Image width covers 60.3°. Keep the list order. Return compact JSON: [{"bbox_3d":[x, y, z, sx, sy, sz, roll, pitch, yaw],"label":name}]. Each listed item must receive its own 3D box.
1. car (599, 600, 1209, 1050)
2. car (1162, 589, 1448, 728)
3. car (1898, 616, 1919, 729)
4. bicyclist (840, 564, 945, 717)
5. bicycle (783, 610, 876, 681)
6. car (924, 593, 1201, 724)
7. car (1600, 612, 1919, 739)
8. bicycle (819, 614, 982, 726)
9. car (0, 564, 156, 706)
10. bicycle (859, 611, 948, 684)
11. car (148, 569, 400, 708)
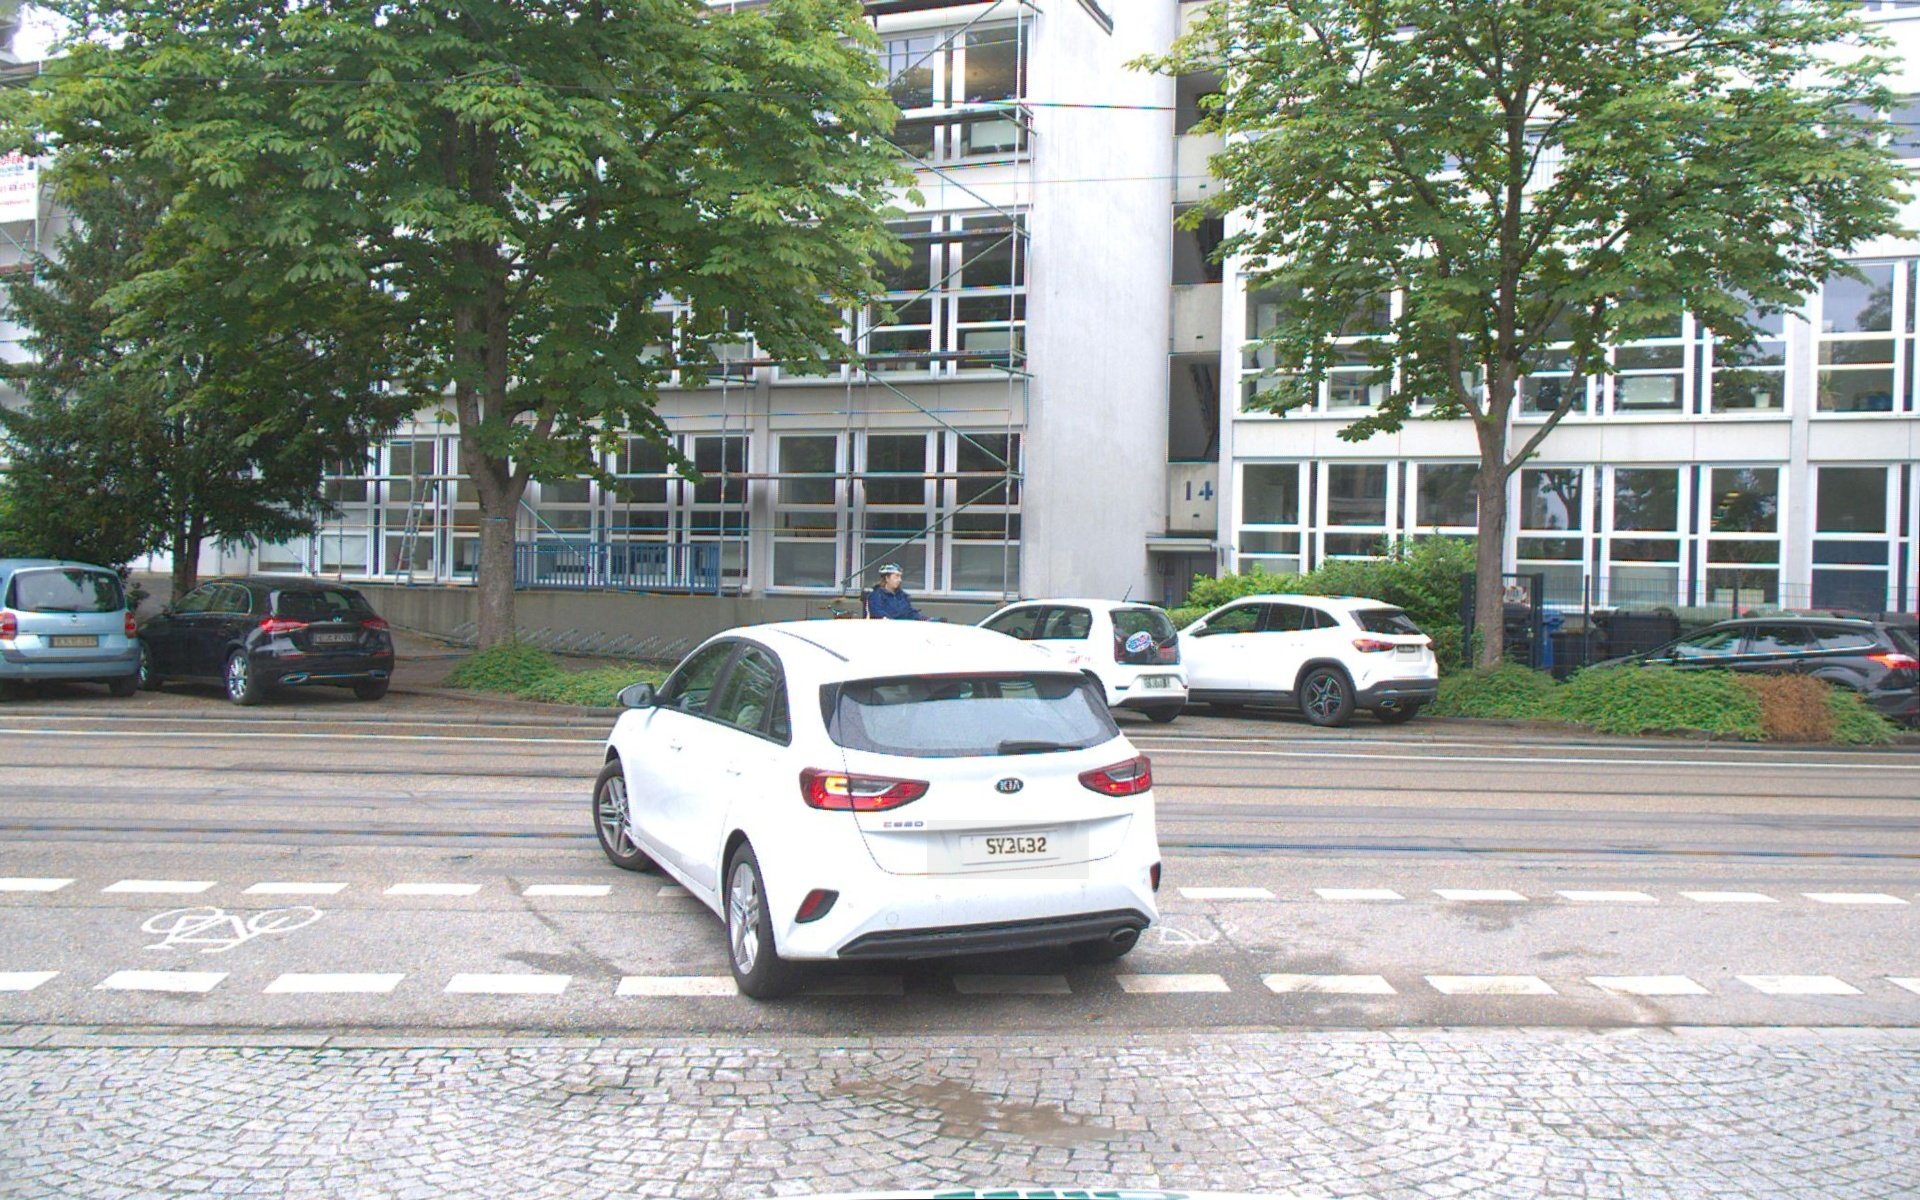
[{"bbox_3d":[-0.552,0.806,8.084,1.751,1.457,3.953,0,2,-22],"label":"car"},{"bbox_3d":[4.402,0.692,21.384,1.545,1.646,3.352,1,0,-44],"label":"car"},{"bbox_3d":[14.294,0.987,21.602,3.331,1.499,1.408,1,0,43],"label":"car"},{"bbox_3d":[-0.787,0.454,19.359,0.882,1.727,0.828,1,0,44],"label":"bicyclist"},{"bbox_3d":[-2.118,0.725,27.163,0.631,1.093,2.312,1,0,19],"label":"bicycle"},{"bbox_3d":[1.241,0.674,20.917,1.545,1.499,3.352,1,0,-44],"label":"car"},{"bbox_3d":[10.776,0.930,22.037,3.880,1.499,1.665,1,0,40],"label":"car"},{"bbox_3d":[-0.706,0.789,19.269,1.883,1.194,0.816,1,0,44],"label":"bicycle"},{"bbox_3d":[-11.200,0.362,19.964,3.279,1.564,1.609,1,0,43],"label":"car"},{"bbox_3d":[-0.890,0.736,26.692,0.631,1.093,2.312,1,0,19],"label":"bicycle"},{"bbox_3d":[-8.351,0.415,20.043,3.278,1.537,1.609,1,0,43],"label":"car"}]
